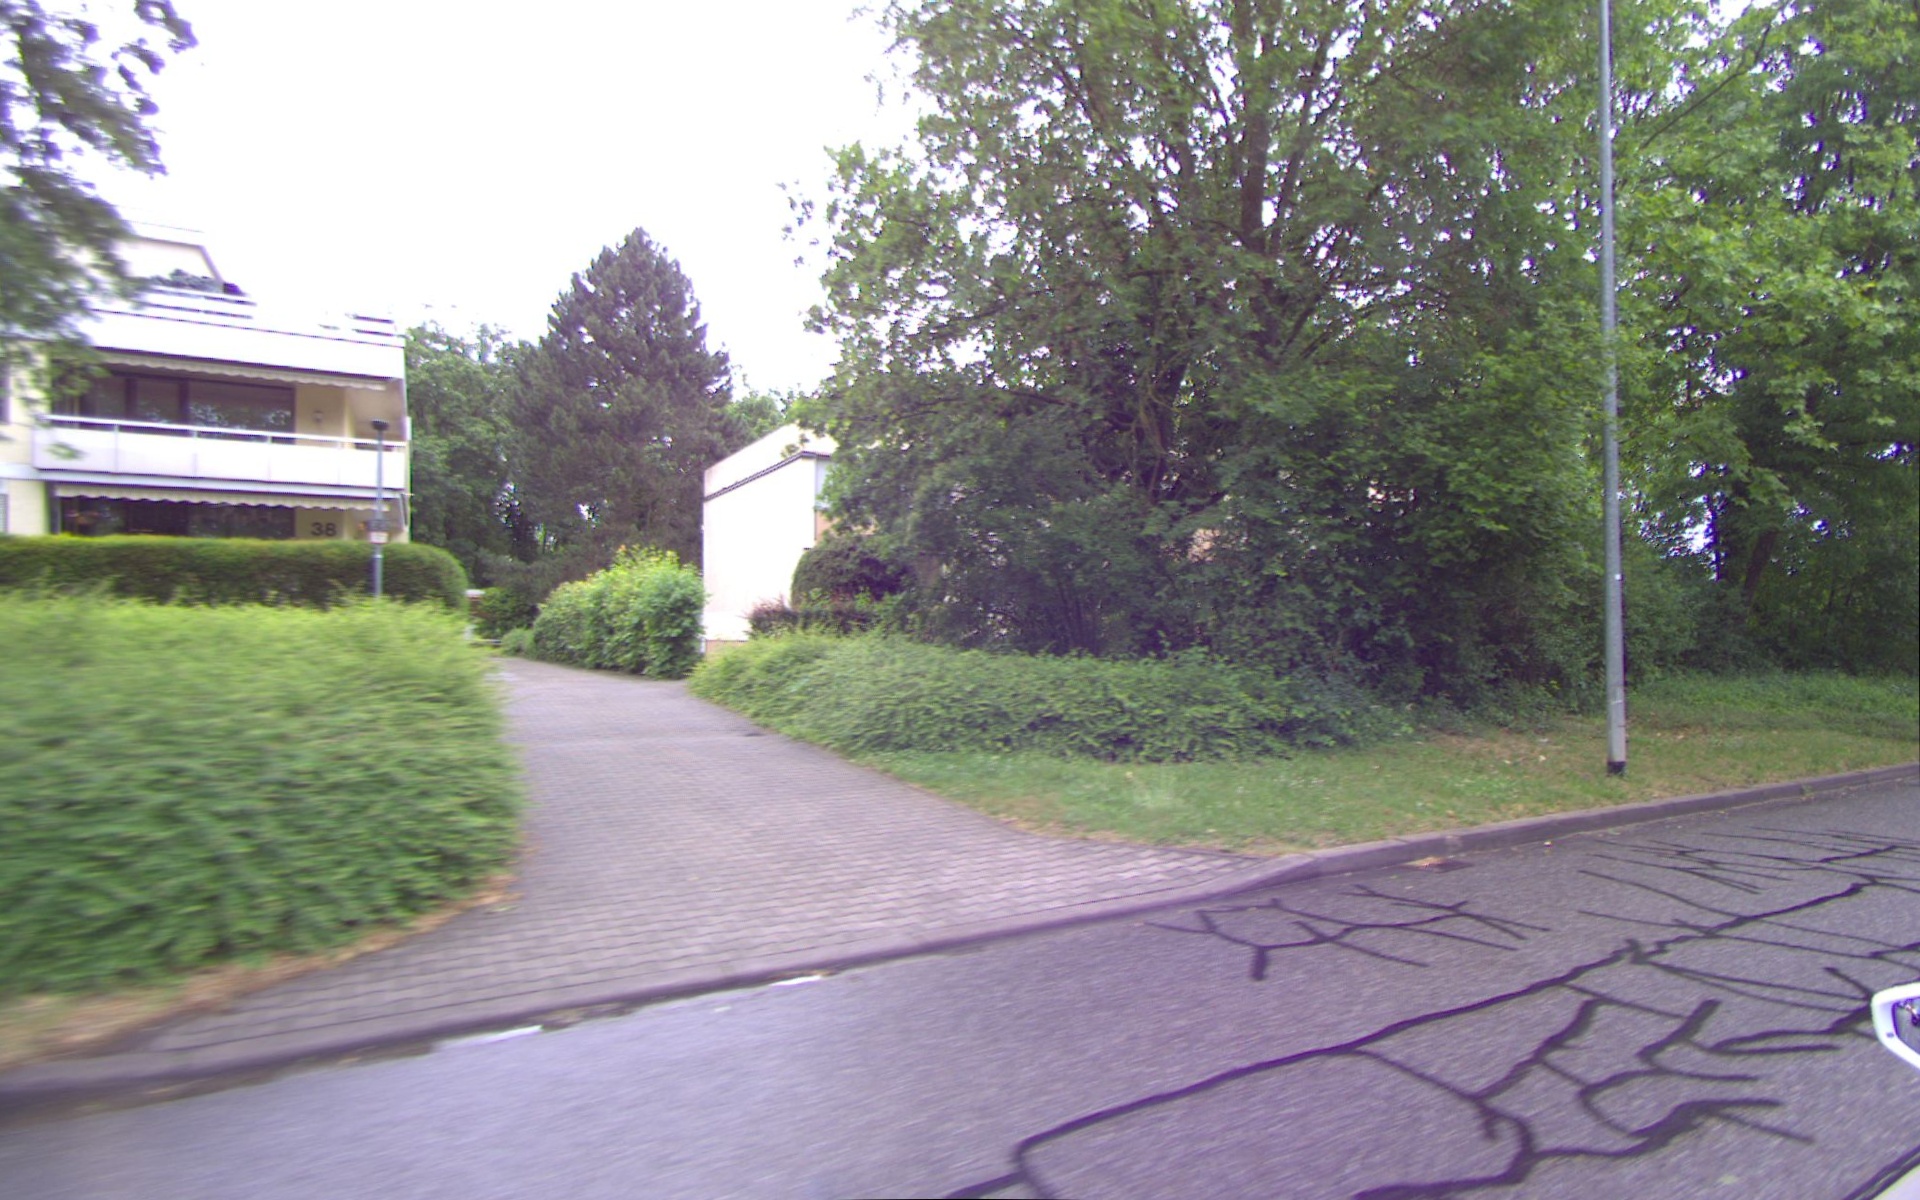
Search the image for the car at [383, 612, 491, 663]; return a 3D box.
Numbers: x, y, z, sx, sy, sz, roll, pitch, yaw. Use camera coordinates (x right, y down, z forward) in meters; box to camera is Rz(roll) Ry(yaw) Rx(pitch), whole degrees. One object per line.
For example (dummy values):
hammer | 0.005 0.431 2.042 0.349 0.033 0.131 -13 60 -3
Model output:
car | -22.226 1.536 42.740 3.952 2.040 1.984 0 0 -30
